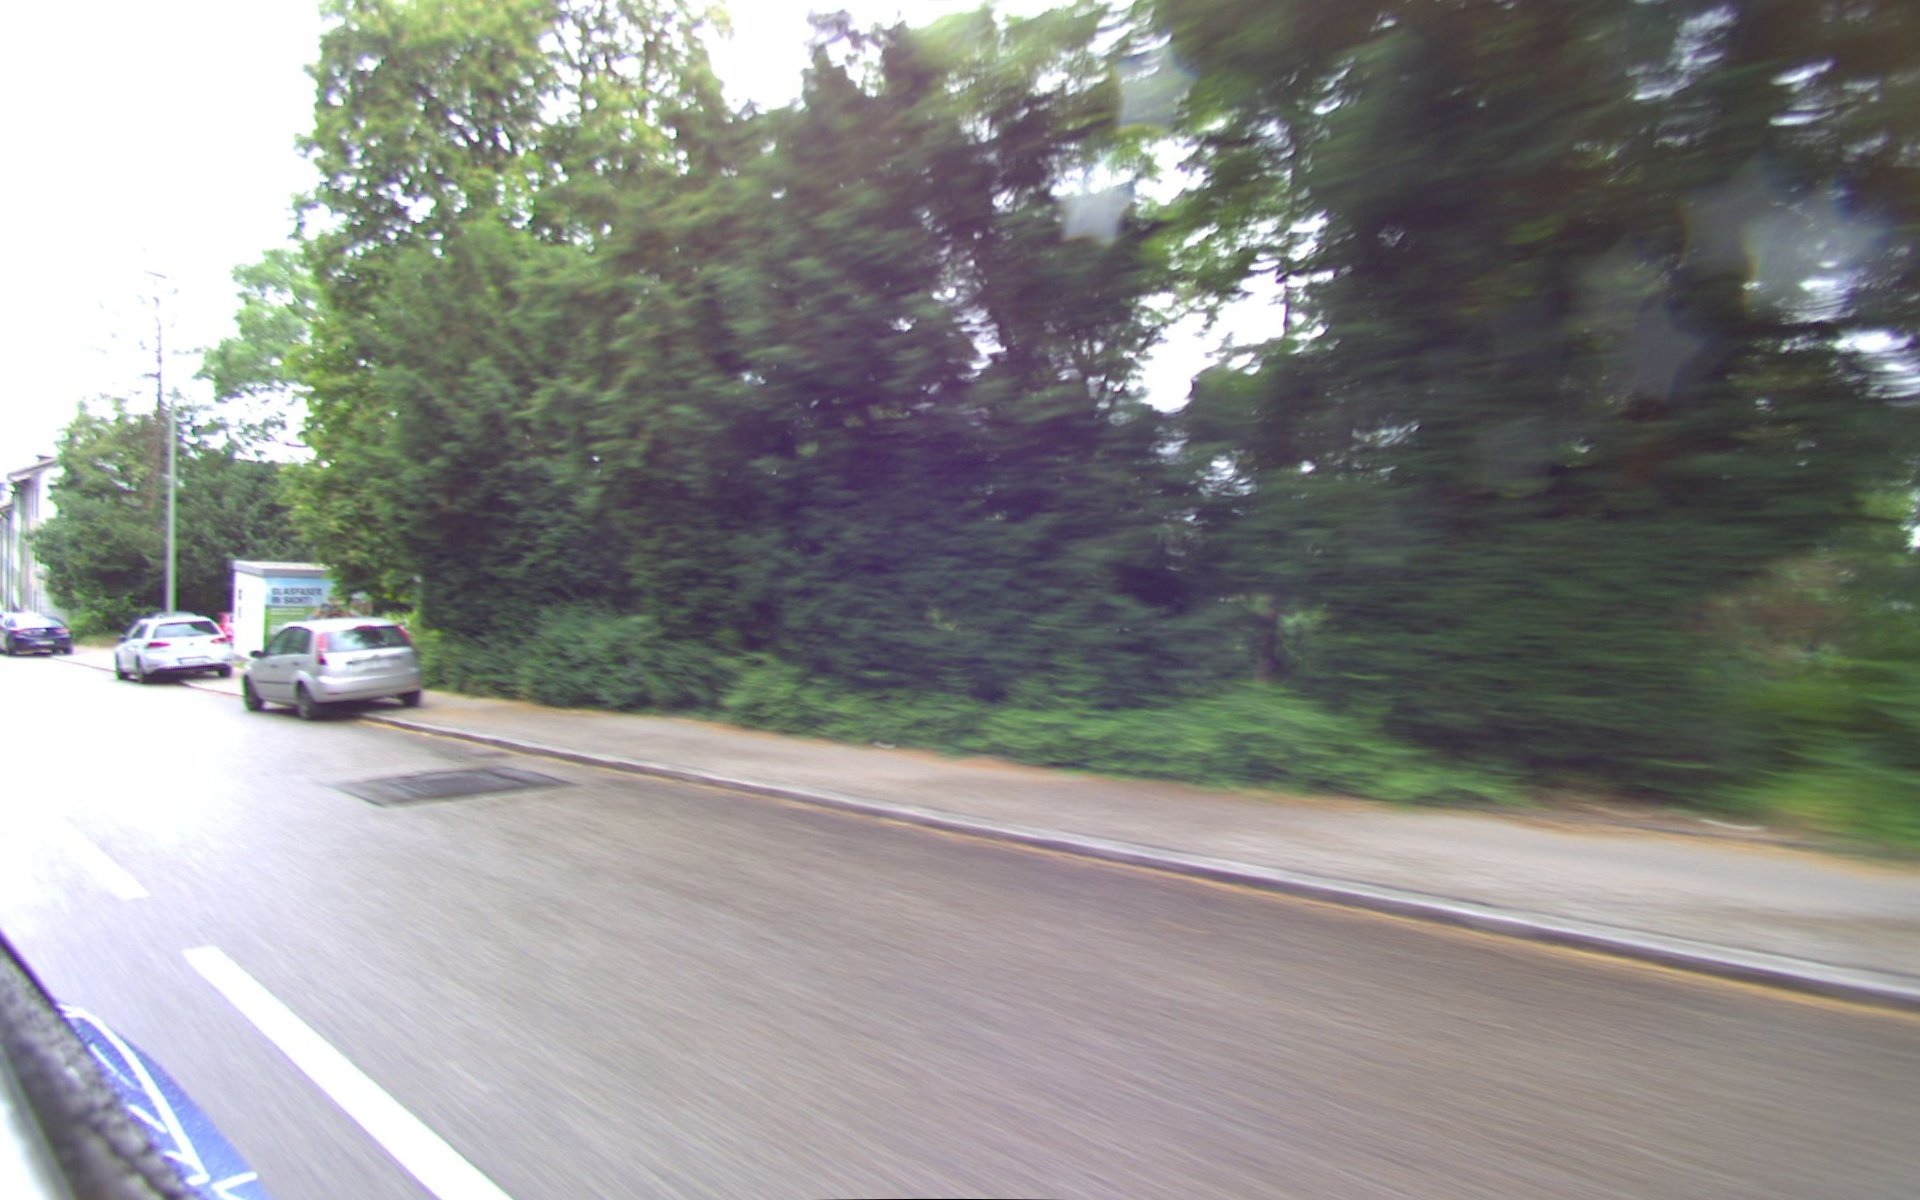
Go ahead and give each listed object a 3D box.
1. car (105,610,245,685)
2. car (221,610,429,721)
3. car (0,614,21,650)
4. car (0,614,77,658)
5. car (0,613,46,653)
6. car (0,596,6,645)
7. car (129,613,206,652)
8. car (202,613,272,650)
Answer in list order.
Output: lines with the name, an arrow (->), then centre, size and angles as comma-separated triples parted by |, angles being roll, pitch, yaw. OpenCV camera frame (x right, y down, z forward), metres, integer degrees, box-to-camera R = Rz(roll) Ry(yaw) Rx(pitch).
car -> -18.863, 1.104, 24.270 | 4.238, 1.624, 1.866 | -1, -3, 42
car -> -10.264, 0.969, 16.270 | 3.924, 1.510, 1.610 | -1, 1, 39
car -> -43.972, 1.424, 45.999 | 4.187, 1.616, 1.626 | -1, -3, 44
car -> -34.574, 1.315, 37.668 | 4.753, 1.505, 1.840 | -1, -4, 41
car -> -39.553, 1.362, 42.367 | 4.150, 1.581, 1.637 | -1, -2, 45
car -> -52.349, 1.052, 53.718 | 5.445, 2.570, 2.093 | -1, -3, 44
car -> -31.923, 1.270, 40.724 | 4.395, 1.470, 1.704 | -1, -1, 42
car -> -30.045, 1.260, 42.011 | 3.773, 1.470, 1.604 | -1, -1, 42
